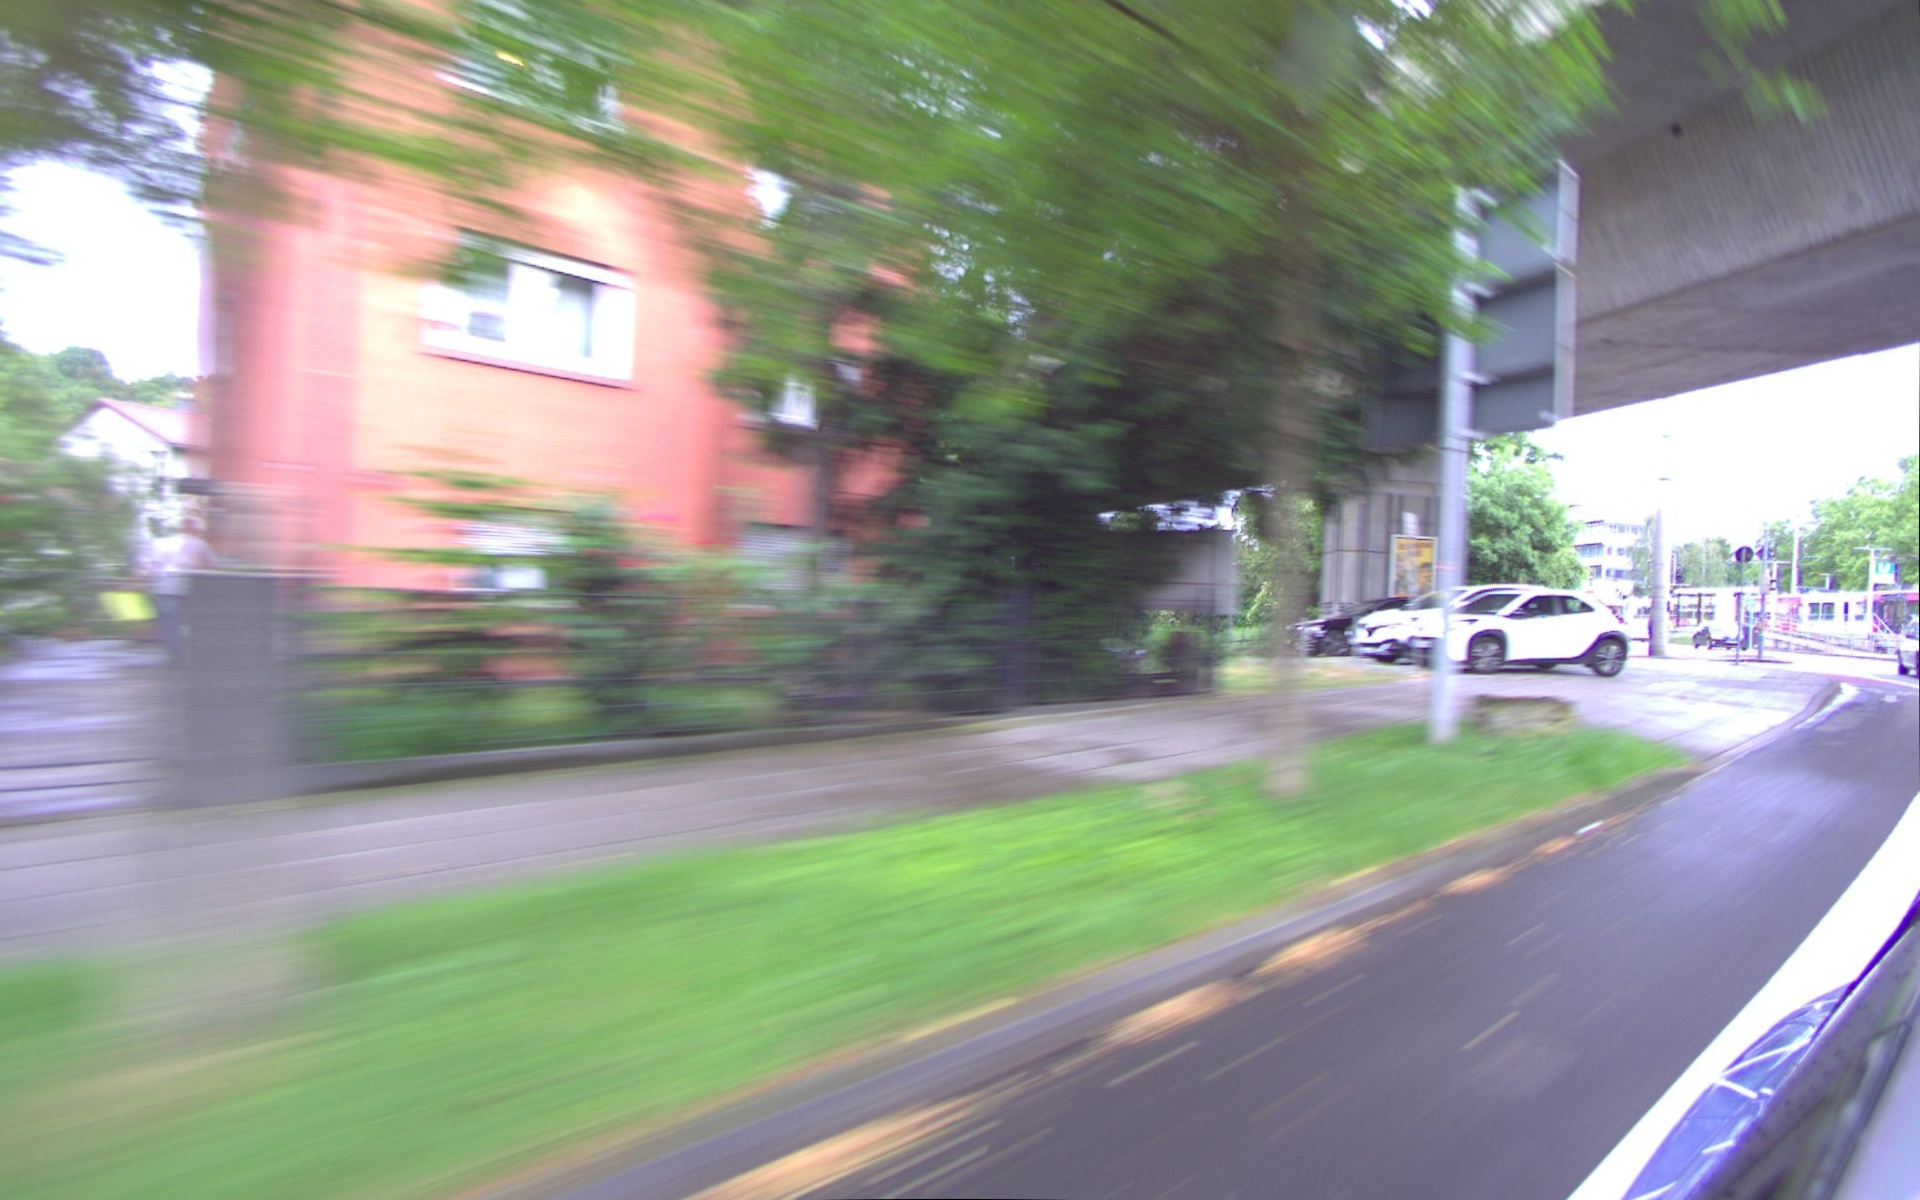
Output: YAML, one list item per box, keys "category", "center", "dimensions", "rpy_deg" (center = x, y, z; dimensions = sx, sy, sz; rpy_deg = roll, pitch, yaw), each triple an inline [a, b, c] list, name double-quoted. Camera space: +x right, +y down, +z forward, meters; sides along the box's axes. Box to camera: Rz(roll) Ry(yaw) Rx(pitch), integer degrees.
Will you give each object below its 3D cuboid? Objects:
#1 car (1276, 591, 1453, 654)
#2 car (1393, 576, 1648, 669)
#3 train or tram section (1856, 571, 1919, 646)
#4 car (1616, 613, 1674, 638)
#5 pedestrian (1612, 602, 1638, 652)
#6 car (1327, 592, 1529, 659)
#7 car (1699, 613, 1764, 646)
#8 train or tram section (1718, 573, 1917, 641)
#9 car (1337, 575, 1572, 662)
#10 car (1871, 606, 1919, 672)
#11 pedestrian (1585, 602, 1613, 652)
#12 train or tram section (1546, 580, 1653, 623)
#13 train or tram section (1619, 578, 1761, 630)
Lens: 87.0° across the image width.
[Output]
- category: "car"
  center: [10.659, 0.559, 26.828]
  dimensions: [3.919, 1.591, 1.908]
  rpy_deg: [0, 0, -7]
- category: "car"
  center: [10.054, 0.387, 18.295]
  dimensions: [3.659, 1.541, 1.806]
  rpy_deg: [1, 0, -9]
- category: "train or tram section"
  center: [51.802, 0.498, 50.930]
  dimensions: [2.840, 4.010, 19.210]
  rpy_deg: [0, 0, 19]
- category: "car"
  center: [46.728, 1.722, 69.109]
  dimensions: [1.970, 1.591, 3.983]
  rpy_deg: [0, 0, 14]
- category: "pedestrian"
  center: [24.687, 1.003, 37.567]
  dimensions: [0.821, 1.831, 0.626]
  rpy_deg: [0, 0, -42]
- category: "car"
  center: [10.973, 0.579, 23.850]
  dimensions: [3.966, 1.458, 1.790]
  rpy_deg: [1, 0, -9]
- category: "car"
  center: [40.461, 1.512, 53.170]
  dimensions: [1.762, 1.520, 3.968]
  rpy_deg: [1, 1, 24]
- category: "train or tram section"
  center: [57.692, 0.357, 69.197]
  dimensions: [2.837, 4.021, 19.228]
  rpy_deg: [0, 0, 17]
- category: "car"
  center: [10.204, 0.374, 21.031]
  dimensions: [3.941, 1.651, 1.970]
  rpy_deg: [1, 0, -9]
- category: "car"
  center: [23.660, 0.967, 24.118]
  dimensions: [1.764, 1.520, 3.964]
  rpy_deg: [3, 1, 26]
- category: "pedestrian"
  center: [23.960, 0.993, 37.937]
  dimensions: [0.893, 1.845, 0.598]
  rpy_deg: [0, 0, -38]
- category: "train or tram section"
  center: [66.877, 0.077, 106.600]
  dimensions: [2.832, 4.023, 19.263]
  rpy_deg: [0, 0, 11]
- category: "train or tram section"
  center: [62.673, 0.216, 87.826]
  dimensions: [2.834, 4.004, 19.249]
  rpy_deg: [0, 0, 14]
